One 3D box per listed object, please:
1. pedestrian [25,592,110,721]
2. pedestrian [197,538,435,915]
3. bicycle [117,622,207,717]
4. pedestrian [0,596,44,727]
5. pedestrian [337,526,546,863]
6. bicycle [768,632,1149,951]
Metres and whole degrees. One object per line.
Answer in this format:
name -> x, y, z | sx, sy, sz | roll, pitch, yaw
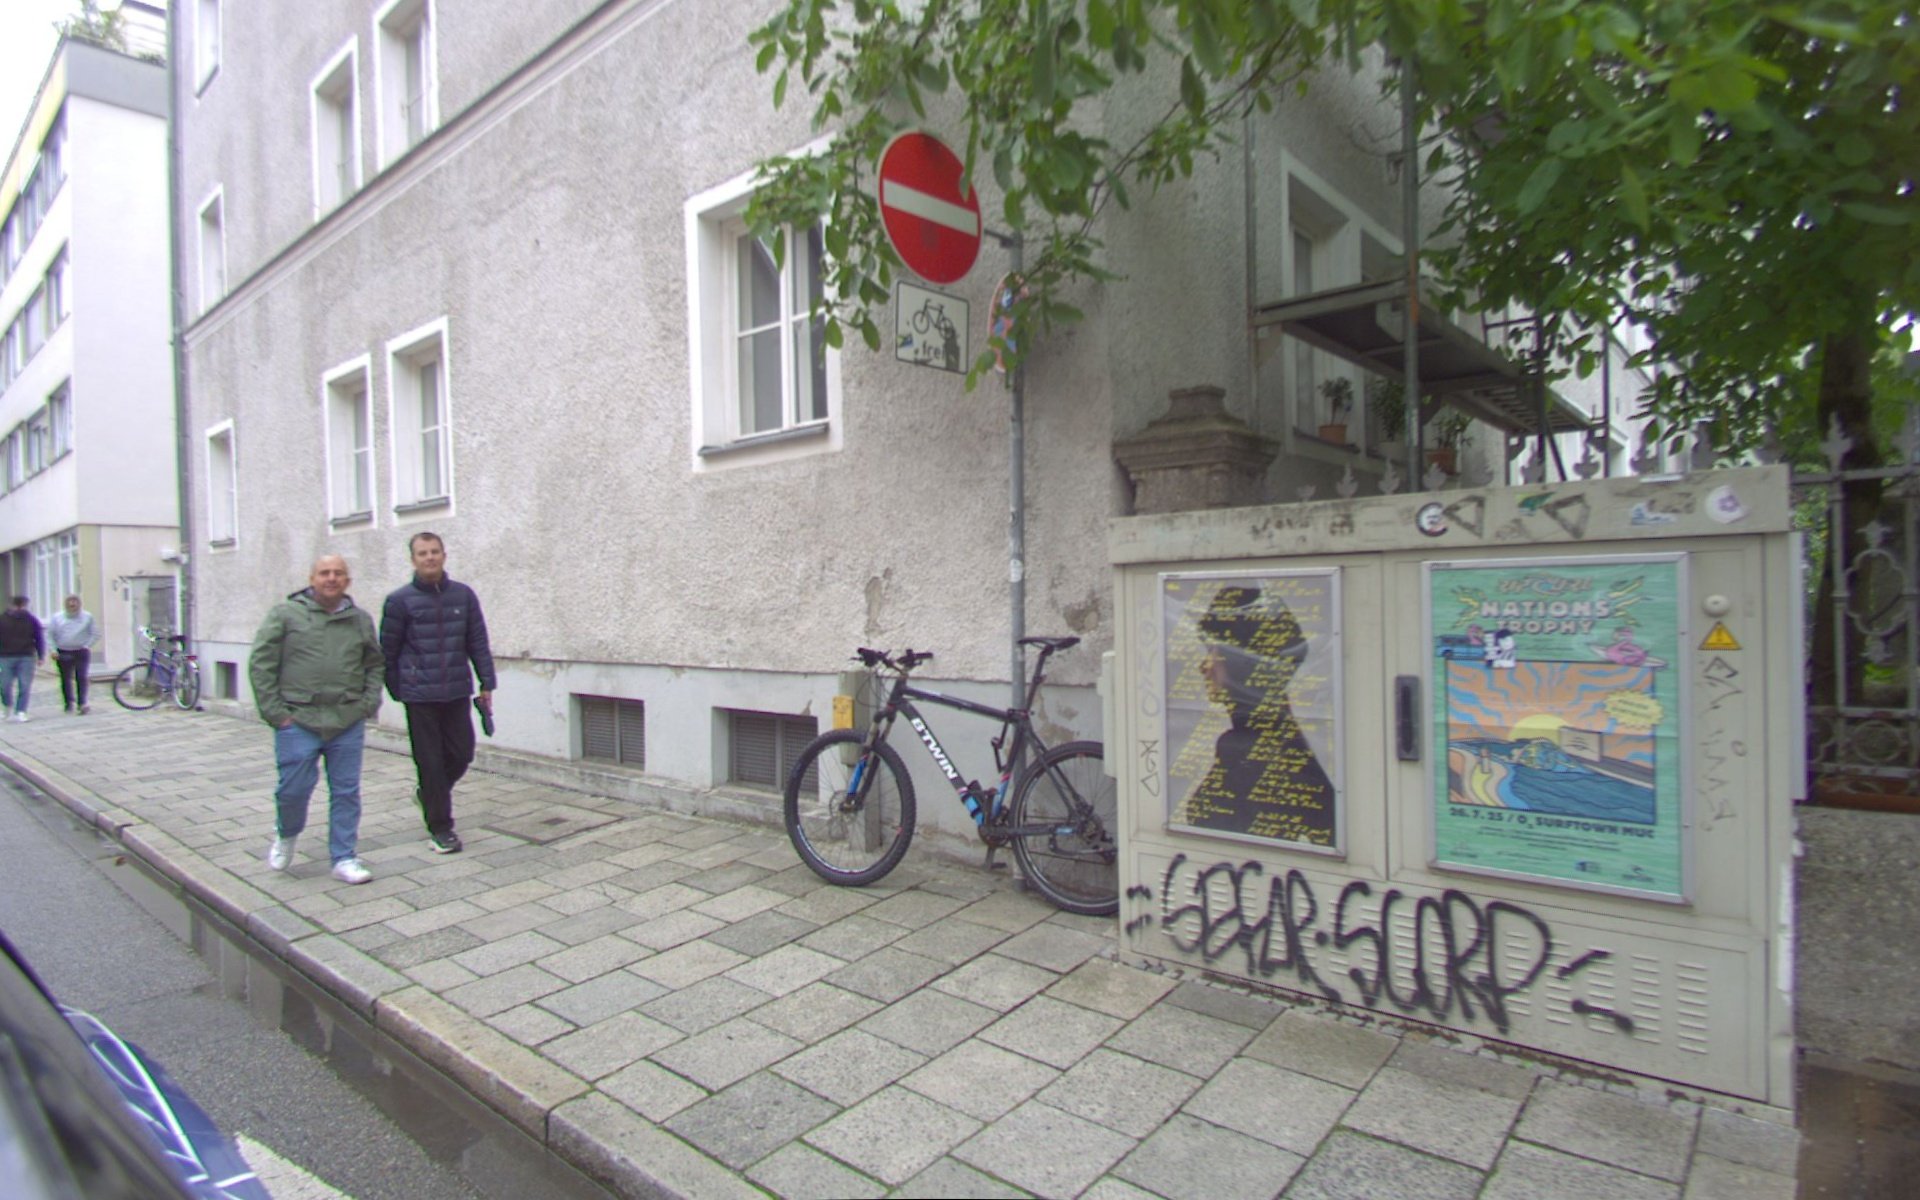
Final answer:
pedestrian -> -12.826, 0.782, 14.542 | 0.841, 1.740, 0.686 | -1, 4, 41
pedestrian -> -3.224, 0.560, 5.070 | 0.858, 1.690, 0.683 | -1, 2, 39
bicycle -> -10.802, 0.921, 13.688 | 1.494, 1.203, 0.445 | -1, 1, 32
pedestrian -> -13.290, 0.846, 13.985 | 0.841, 1.740, 0.713 | -1, 4, 41
pedestrian -> -2.951, 0.489, 5.785 | 0.739, 1.776, 0.685 | -2, 2, 31
bicycle -> -0.074, 0.704, 4.306 | 1.701, 1.103, 0.426 | -1, 1, 39
